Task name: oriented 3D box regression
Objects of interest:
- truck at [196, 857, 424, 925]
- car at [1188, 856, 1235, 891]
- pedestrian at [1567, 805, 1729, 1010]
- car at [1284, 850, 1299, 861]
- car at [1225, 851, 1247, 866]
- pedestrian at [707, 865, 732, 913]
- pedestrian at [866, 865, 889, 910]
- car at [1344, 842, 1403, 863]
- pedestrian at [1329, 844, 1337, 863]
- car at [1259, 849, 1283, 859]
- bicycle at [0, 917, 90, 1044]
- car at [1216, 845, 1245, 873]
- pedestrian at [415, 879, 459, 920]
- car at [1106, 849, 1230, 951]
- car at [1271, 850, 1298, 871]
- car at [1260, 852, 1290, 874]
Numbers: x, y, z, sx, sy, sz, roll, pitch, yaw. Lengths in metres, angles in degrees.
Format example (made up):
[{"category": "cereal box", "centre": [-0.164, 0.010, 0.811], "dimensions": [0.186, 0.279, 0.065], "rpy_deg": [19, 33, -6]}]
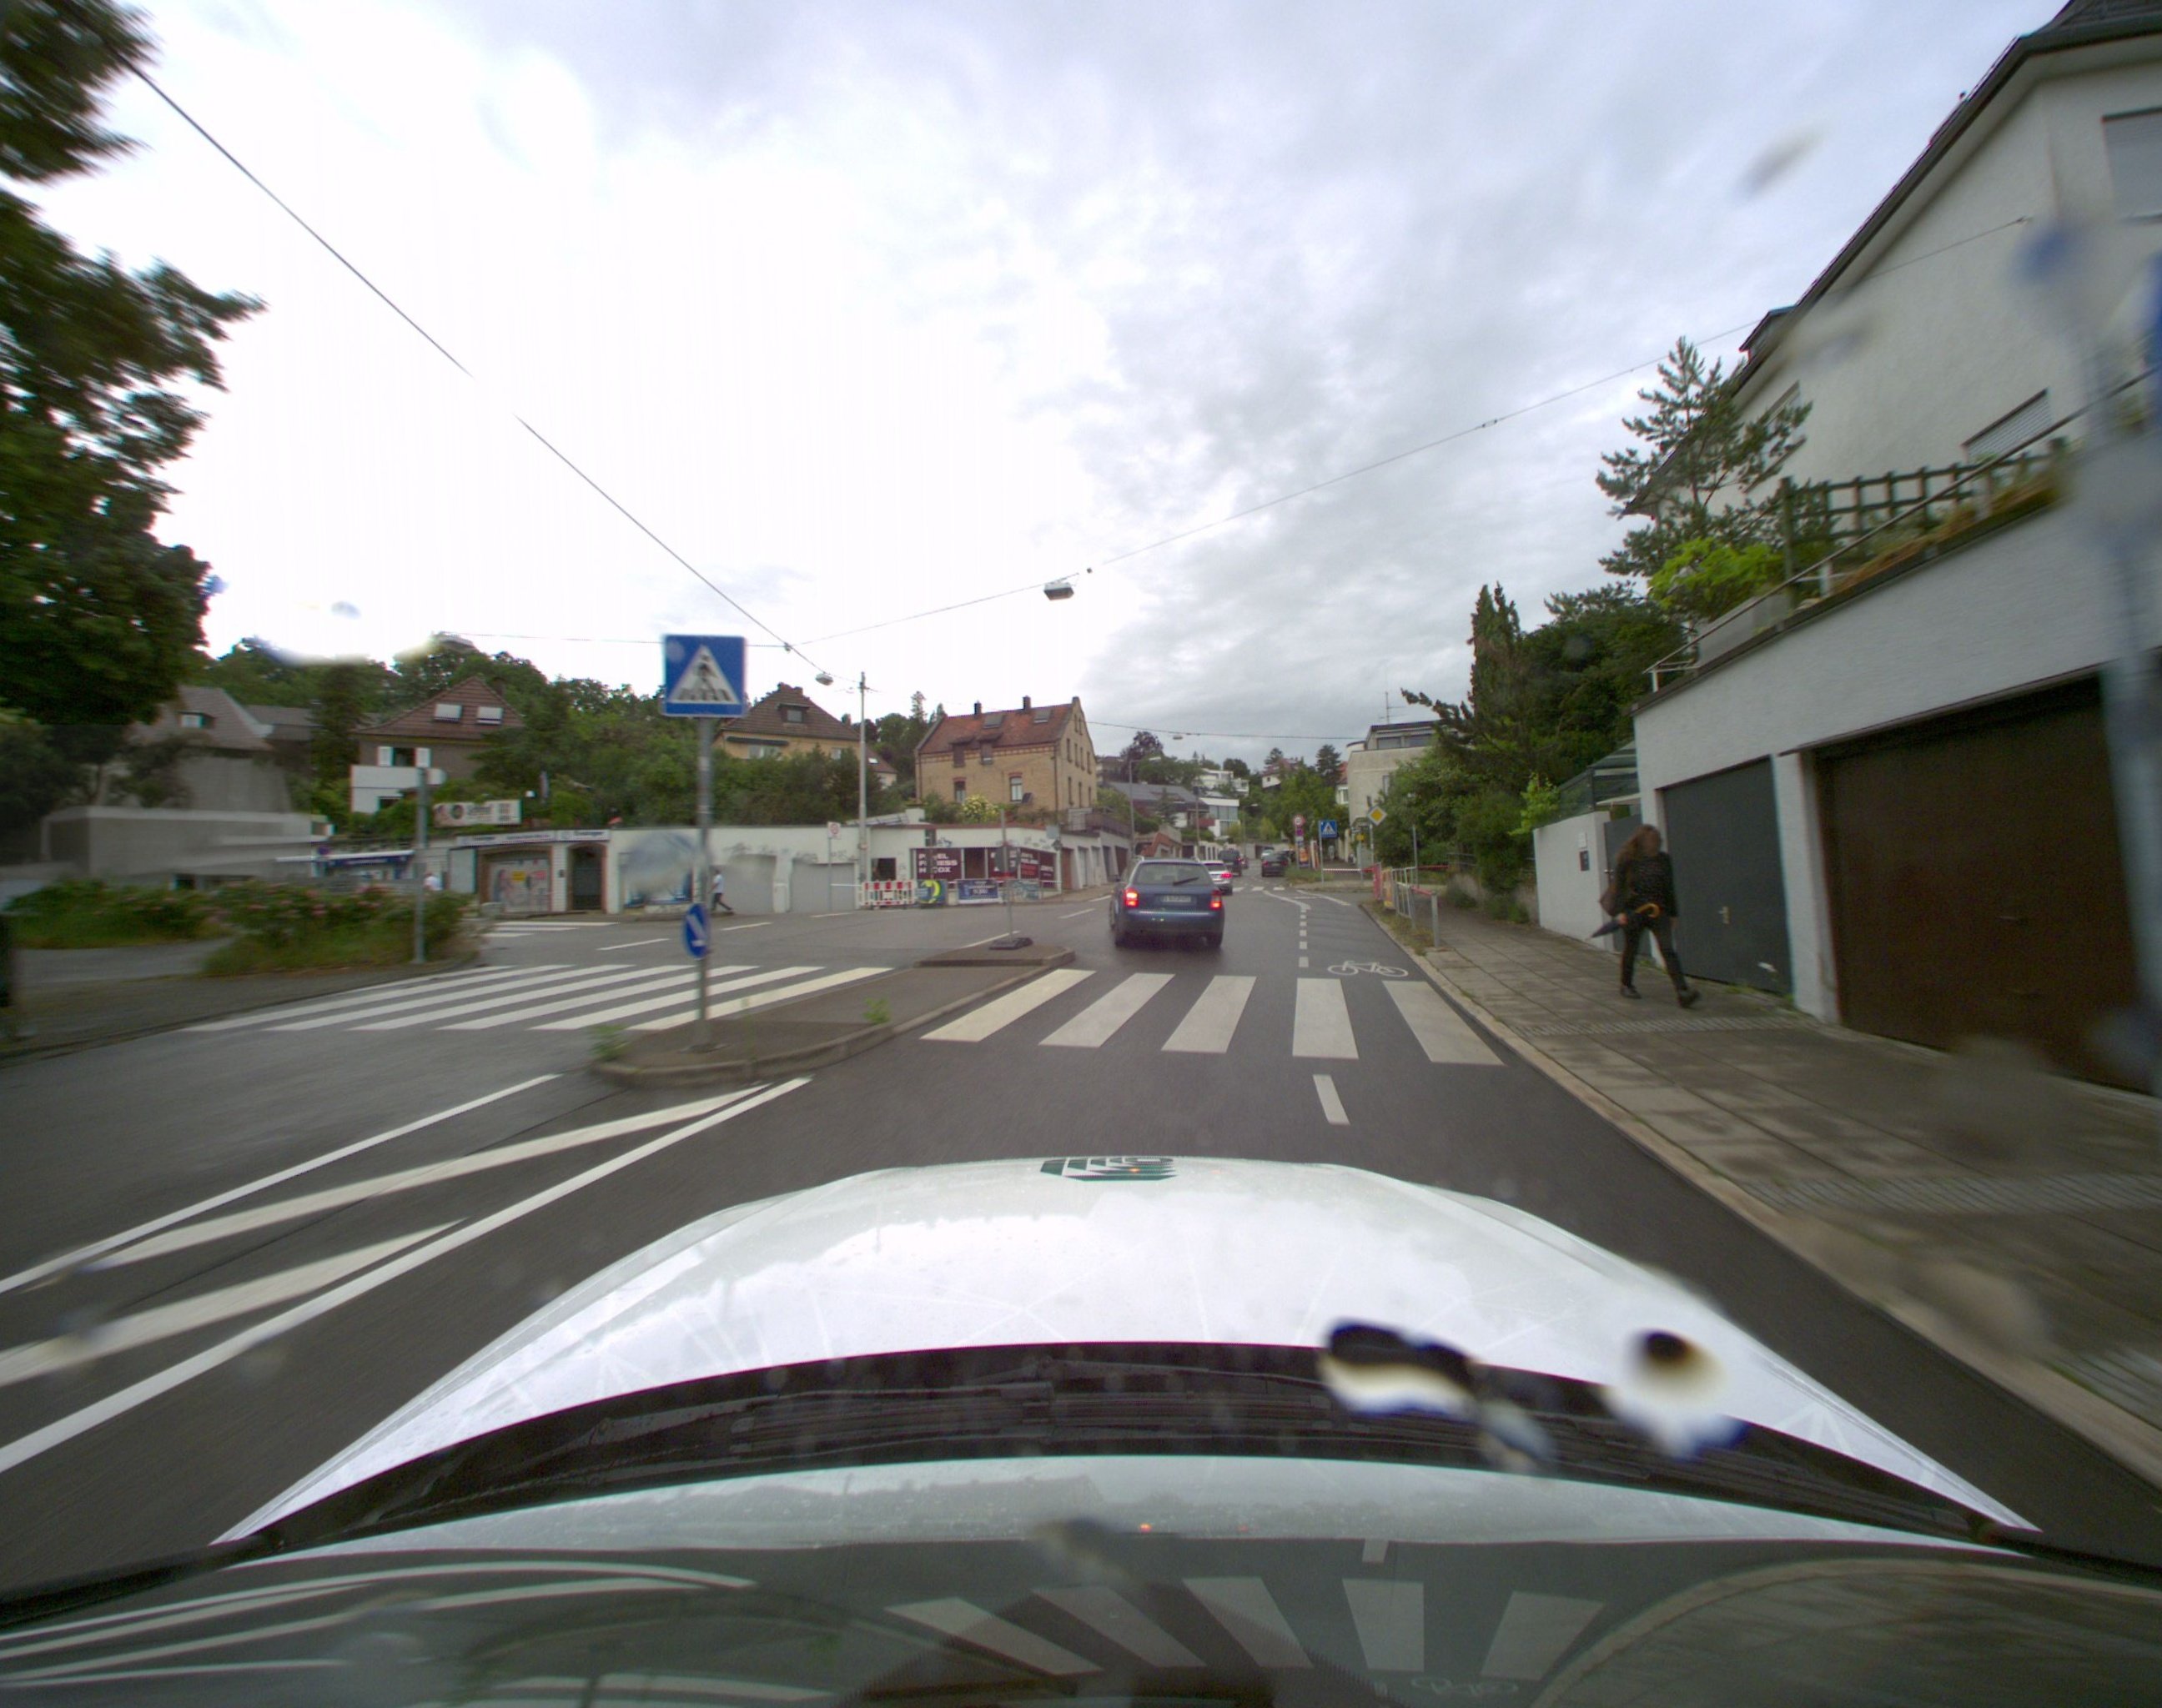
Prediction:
[{"category": "truck", "centre": [-27.522, 1.307, 29.137], "dimensions": [6.745, 2.269, 2.321], "rpy_deg": [-1, -1, 10]}, {"category": "car", "centre": [5.505, 0.818, 34.184], "dimensions": [1.800, 1.361, 4.010], "rpy_deg": [-1, -2, 10]}, {"category": "pedestrian", "centre": [5.184, 0.471, 7.532], "dimensions": [0.797, 1.722, 1.064], "rpy_deg": [-4, -1, 14]}, {"category": "car", "centre": [25.673, 0.165, 99.394], "dimensions": [1.457, 1.254, 3.599], "rpy_deg": [-2, 0, 19]}, {"category": "car", "centre": [14.544, 0.399, 76.126], "dimensions": [1.811, 1.296, 4.014], "rpy_deg": [-2, 0, 13]}, {"category": "pedestrian", "centre": [-13.765, 1.324, 31.054], "dimensions": [0.705, 1.806, 0.805], "rpy_deg": [-1, -1, -12]}, {"category": "pedestrian", "centre": [-7.833, 1.282, 31.359], "dimensions": [0.587, 1.689, 0.619], "rpy_deg": [-2, -2, -40]}, {"category": "car", "centre": [22.255, -0.120, 61.975], "dimensions": [3.949, 1.415, 1.736], "rpy_deg": [-2, -1, 29]}, {"category": "pedestrian", "centre": [24.069, -0.086, 77.887], "dimensions": [0.634, 1.795, 0.747], "rpy_deg": [-2, 0, 12]}, {"category": "car", "centre": [30.633, -0.026, 131.507], "dimensions": [3.561, 1.606, 1.716], "rpy_deg": [-1, -1, -32]}, {"category": "bicycle", "centre": [-9.986, 1.178, 6.924], "dimensions": [0.417, 1.085, 1.970], "rpy_deg": [-1, 1, 12]}, {"category": "car", "centre": [10.406, 0.333, 56.574], "dimensions": [1.812, 1.819, 4.012], "rpy_deg": [-2, 0, 11]}, {"category": "pedestrian", "centre": [-24.541, 1.731, 31.052], "dimensions": [0.969, 1.505, 0.893], "rpy_deg": [0, 0, 12]}, {"category": "car", "centre": [1.405, 0.676, 14.212], "dimensions": [1.804, 1.439, 4.085], "rpy_deg": [1, 1, 3]}, {"category": "car", "centre": [14.976, 0.450, 60.120], "dimensions": [1.705, 1.450, 3.844], "rpy_deg": [-2, 0, 11]}, {"category": "car", "centre": [13.006, 0.565, 54.815], "dimensions": [1.759, 1.377, 4.362], "rpy_deg": [-2, 0, 11]}]
